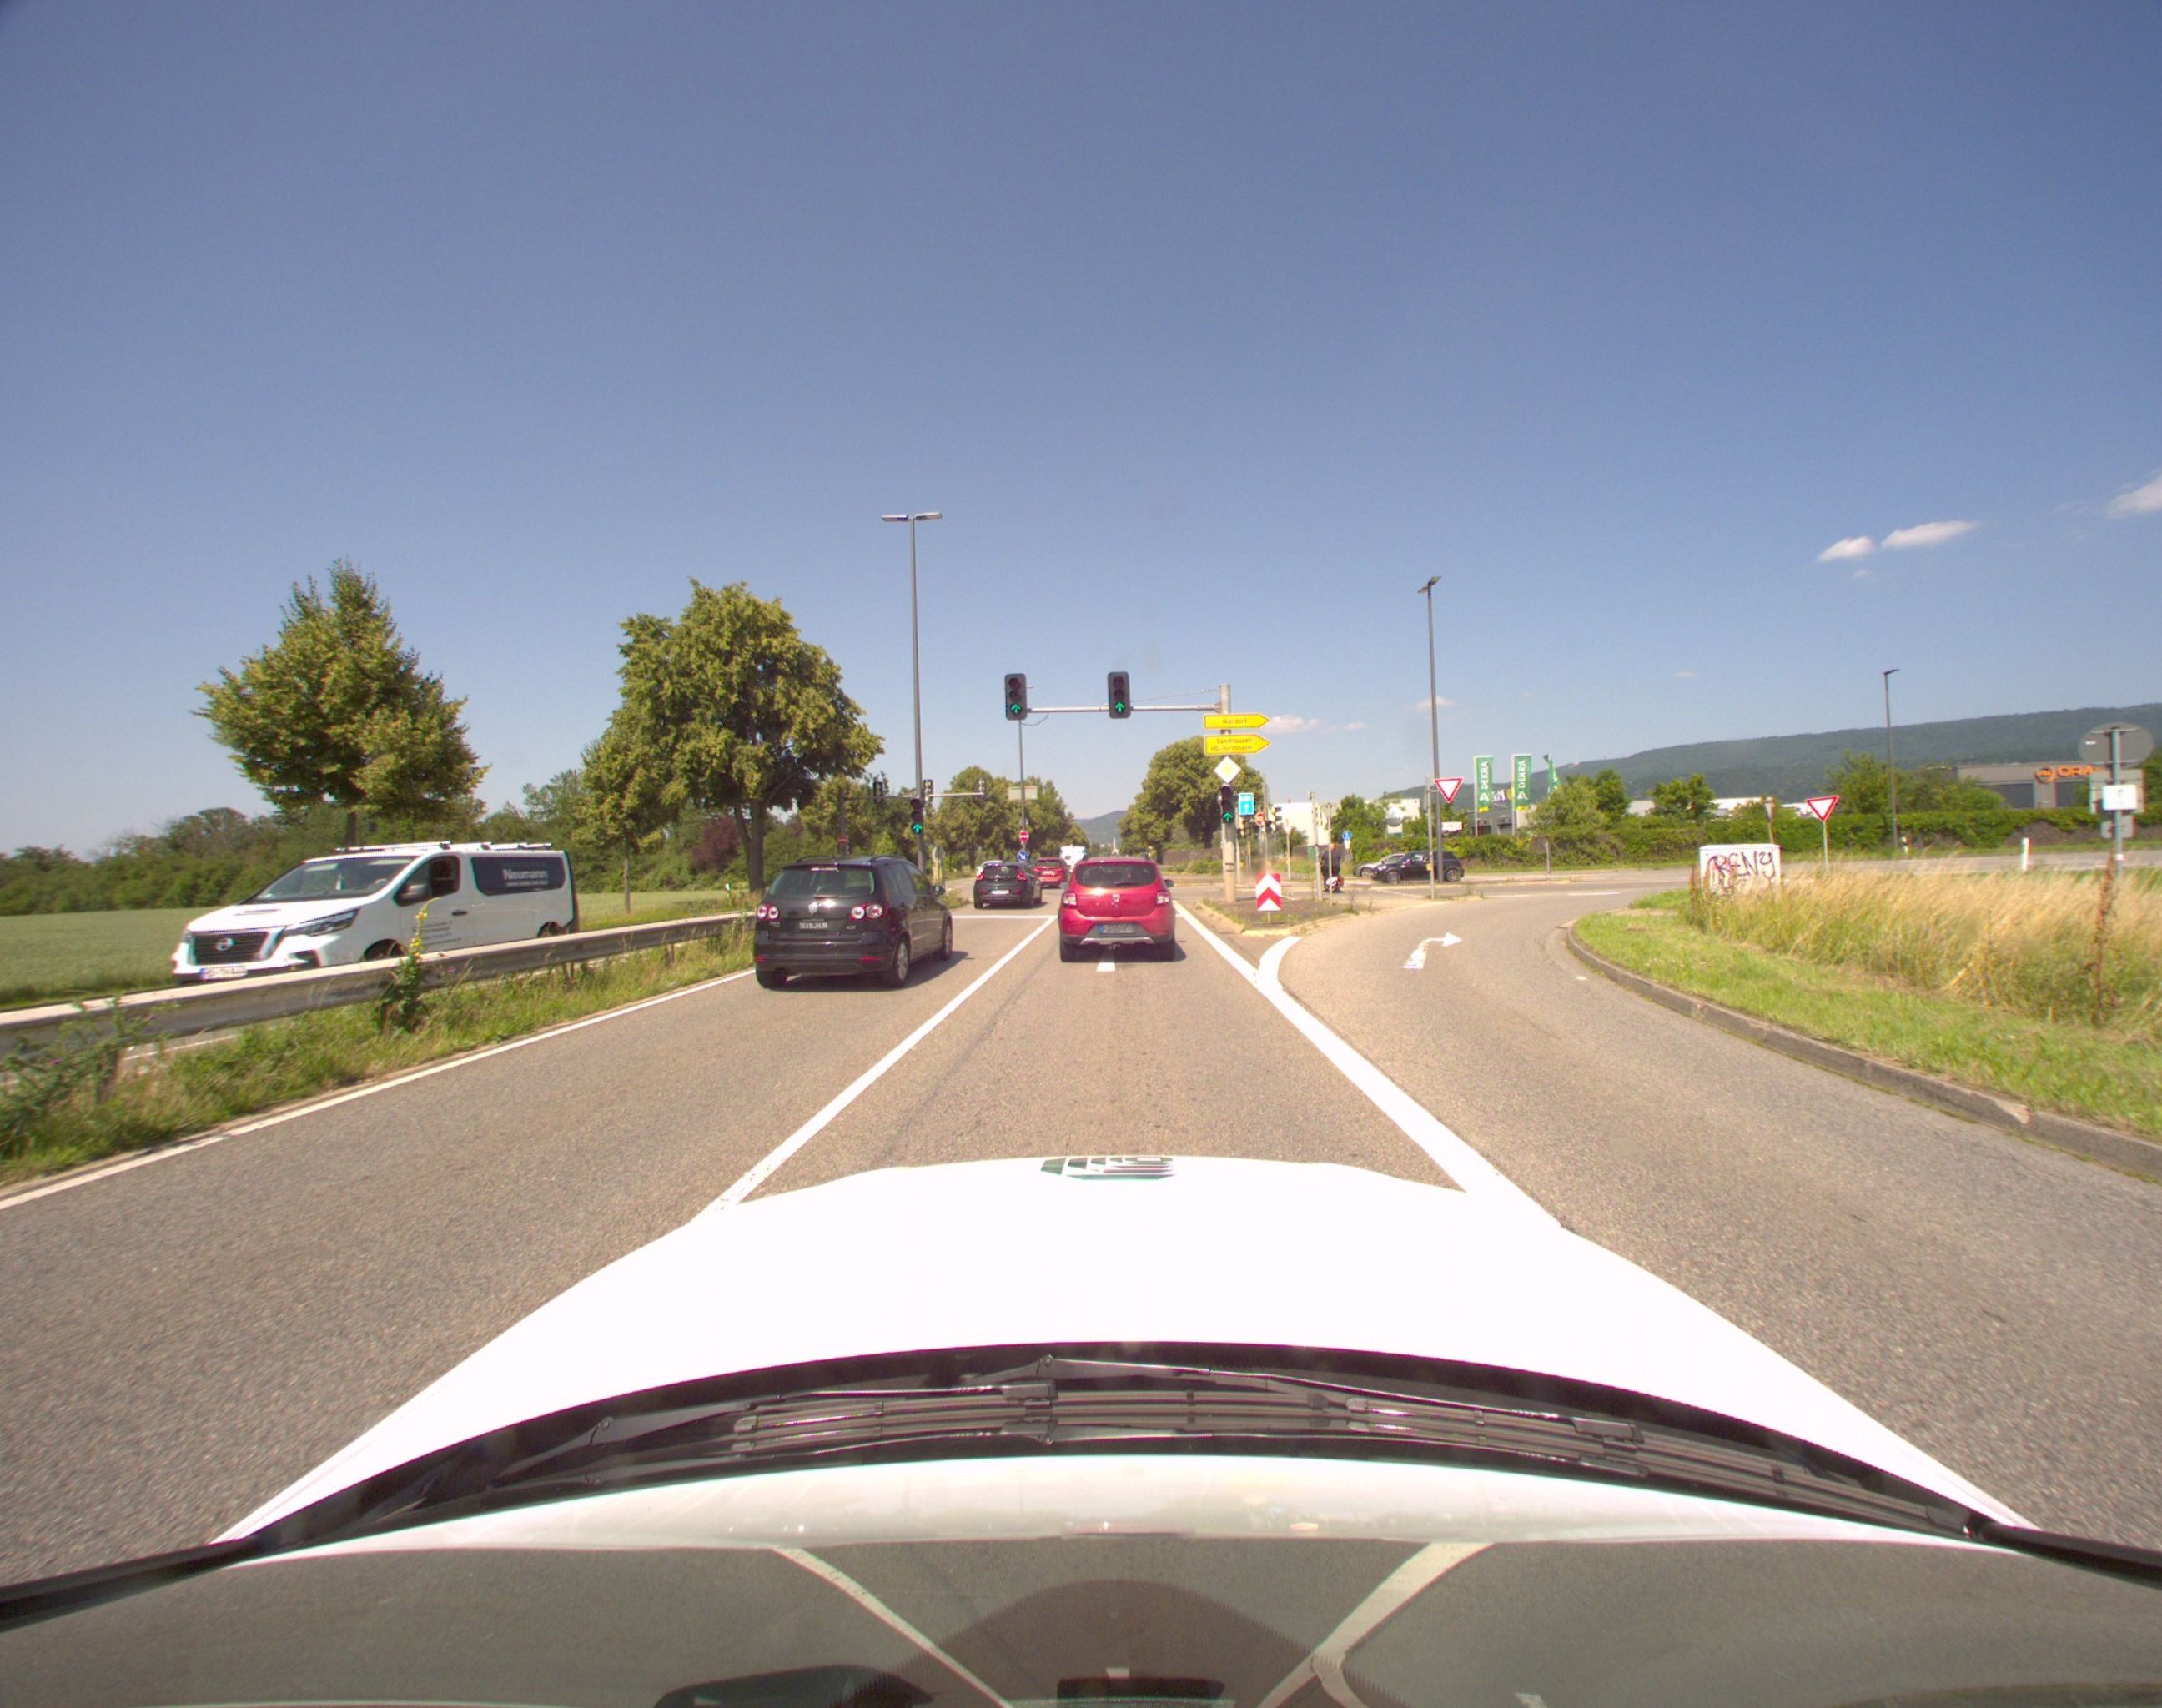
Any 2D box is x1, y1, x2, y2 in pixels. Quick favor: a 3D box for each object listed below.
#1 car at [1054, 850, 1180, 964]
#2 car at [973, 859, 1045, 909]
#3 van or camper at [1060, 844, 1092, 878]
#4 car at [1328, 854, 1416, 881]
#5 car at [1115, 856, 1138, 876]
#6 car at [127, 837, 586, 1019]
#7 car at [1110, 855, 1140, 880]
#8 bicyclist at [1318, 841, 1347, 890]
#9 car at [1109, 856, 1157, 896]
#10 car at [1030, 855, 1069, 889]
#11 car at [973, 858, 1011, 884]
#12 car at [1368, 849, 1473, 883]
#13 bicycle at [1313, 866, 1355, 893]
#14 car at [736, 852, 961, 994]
[{"bbox_3d":[0.638,0.757,13.316,1.741,1.576,3.680,-1,0,4],"label":"car"},{"bbox_3d":[-2.194,0.892,25.779,1.695,1.442,3.959,-1,0,3],"label":"car"},{"bbox_3d":[-0.338,0.458,58.409,2.172,2.303,4.826,-1,0,0],"label":"van or camper"},{"bbox_3d":[16.179,0.756,45.331,4.323,1.327,1.817,-2,0,27],"label":"car"},{"bbox_3d":[3.645,0.939,64.816,1.741,1.458,3.680,-1,0,4],"label":"car"},{"bbox_3d":[-9.738,0.840,11.734,1.986,1.980,5.017,-2,0,1],"label":"car"},{"bbox_3d":[2.717,0.791,49.634,1.741,1.458,3.680,-1,0,4],"label":"car"},{"bbox_3d":[9.460,0.424,30.690,0.799,1.771,0.809,-2,0,1],"label":"bicyclist"},{"bbox_3d":[2.051,0.815,31.893,1.741,1.458,3.680,-1,0,4],"label":"car"},{"bbox_3d":[-1.530,0.849,41.052,1.718,1.600,3.956,-1,0,1],"label":"car"},{"bbox_3d":[-5.987,1.121,55.173,1.986,1.670,4.002,-2,0,2],"label":"car"},{"bbox_3d":[14.769,0.530,35.611,3.959,1.327,1.813,-2,0,13],"label":"car"},{"bbox_3d":[9.494,0.931,30.673,0.758,0.915,2.781,-2,0,2],"label":"bicycle"},{"bbox_3d":[-2.876,0.772,11.012,1.716,1.575,3.896,-1,0,3],"label":"car"}]
